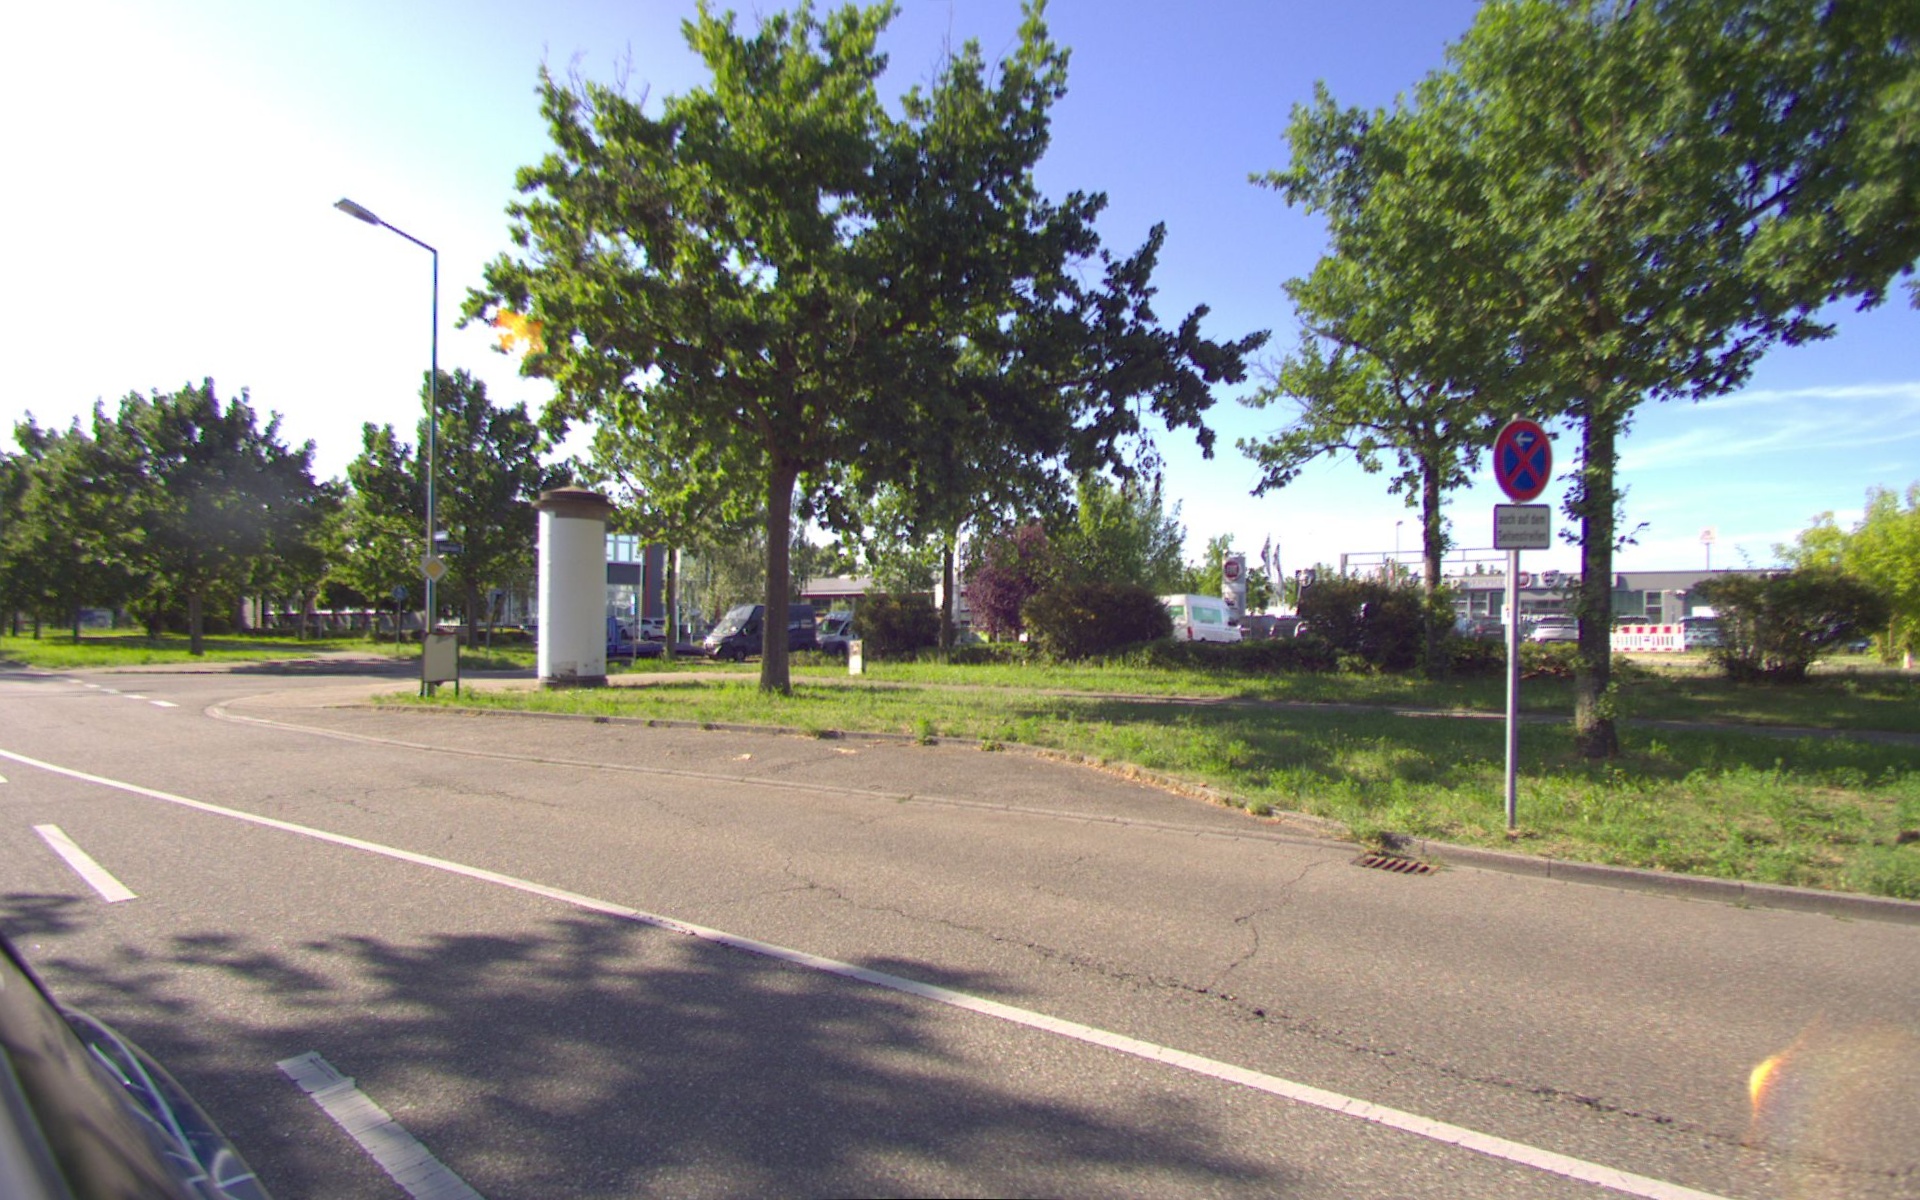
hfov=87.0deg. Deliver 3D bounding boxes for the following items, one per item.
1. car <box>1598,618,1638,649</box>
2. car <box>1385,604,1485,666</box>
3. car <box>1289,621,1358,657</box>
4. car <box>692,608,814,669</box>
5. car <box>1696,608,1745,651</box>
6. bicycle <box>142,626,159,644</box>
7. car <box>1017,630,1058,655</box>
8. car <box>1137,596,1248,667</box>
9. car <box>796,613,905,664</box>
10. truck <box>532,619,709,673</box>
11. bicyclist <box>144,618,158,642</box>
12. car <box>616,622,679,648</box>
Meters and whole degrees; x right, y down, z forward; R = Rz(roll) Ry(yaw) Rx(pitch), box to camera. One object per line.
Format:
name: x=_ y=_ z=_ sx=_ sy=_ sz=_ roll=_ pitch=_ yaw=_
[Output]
car: x=33.825 y=1.694 z=51.985 sx=1.589 sy=1.509 sz=3.565 roll=0 pitch=-1 yaw=35
car: x=17.225 y=1.235 z=36.549 sx=2.297 sy=2.085 sz=5.360 roll=-1 pitch=-2 yaw=36
car: x=14.280 y=1.488 z=39.640 sx=1.572 sy=1.312 sz=3.490 roll=-1 pitch=-1 yaw=37
car: x=-9.902 y=1.756 z=48.924 sx=2.297 sy=2.723 sz=5.809 roll=0 pitch=0 yaw=36
car: x=38.195 y=1.474 z=50.788 sx=1.882 sy=2.029 sz=3.948 roll=-1 pitch=-2 yaw=38
bicycle: x=-54.734 y=2.342 z=68.444 sx=2.334 sy=1.170 sz=0.545 roll=0 pitch=0 yaw=43
car: x=5.273 y=2.861 z=68.684 sx=1.506 sy=1.585 sz=3.107 roll=-1 pitch=-2 yaw=34
car: x=9.783 y=1.199 z=42.152 sx=2.297 sy=2.723 sz=6.104 roll=0 pitch=0 yaw=36
car: x=-5.835 y=1.997 z=54.885 sx=2.297 sy=2.535 sz=6.281 roll=0 pitch=0 yaw=36
truck: x=-14.154 y=1.893 z=42.746 sx=2.138 sy=2.065 sz=7.042 roll=0 pitch=-2 yaw=38
bicyclist: x=-54.656 y=2.020 z=68.403 sx=0.659 sy=1.641 sz=0.657 roll=0 pitch=0 yaw=42
car: x=-20.616 y=2.288 z=66.754 sx=4.295 sy=1.505 sz=1.974 roll=2 pitch=1 yaw=39
